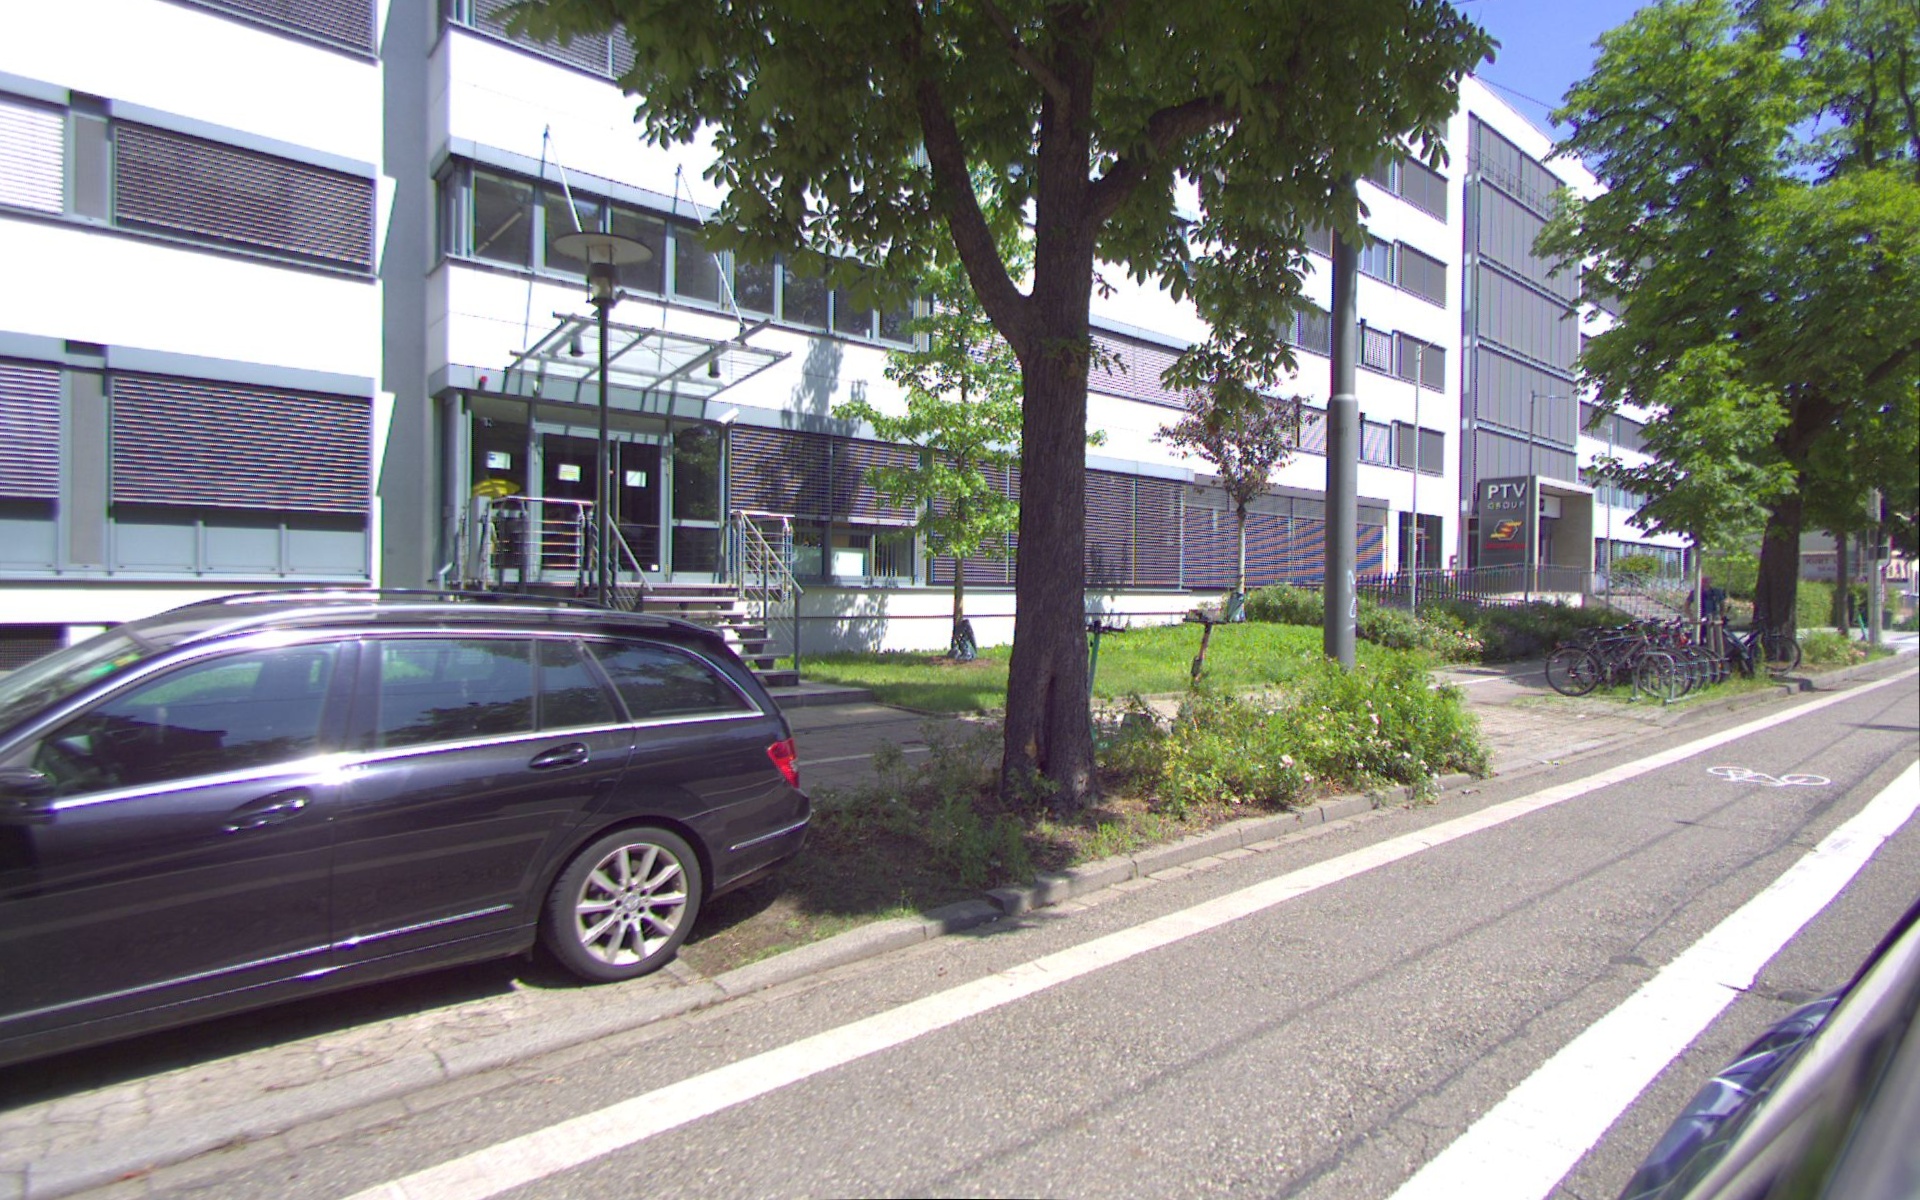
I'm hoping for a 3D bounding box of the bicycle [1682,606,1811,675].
[{"bbox_3d":[14.458,0.713,18.632,1.813,1.179,0.700,1,1,43],"label":"bicycle"}]

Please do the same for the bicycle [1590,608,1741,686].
[{"bbox_3d":[10.766,0.687,15.487,0.560,1.125,1.809,0,-1,-43],"label":"bicycle"}]

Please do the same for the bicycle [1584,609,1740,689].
[{"bbox_3d":[10.388,0.698,15.024,0.560,1.125,1.809,0,-1,-43],"label":"bicycle"}]

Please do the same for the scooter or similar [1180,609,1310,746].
[{"bbox_3d":[2.827,0.719,9.988,1.361,1.223,0.540,0,2,-41],"label":"scooter or similar"}]

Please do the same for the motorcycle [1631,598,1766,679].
[{"bbox_3d":[12.711,0.634,17.448,1.813,1.293,0.710,1,1,43],"label":"motorcycle"}]

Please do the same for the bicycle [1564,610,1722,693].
[{"bbox_3d":[9.858,0.710,14.661,0.560,1.125,1.809,0,-1,-43],"label":"bicycle"}]

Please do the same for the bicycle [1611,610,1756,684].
[{"bbox_3d":[11.625,0.728,16.305,0.560,1.125,1.809,0,-1,-43],"label":"bicycle"}]

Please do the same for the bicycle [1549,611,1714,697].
[{"bbox_3d":[9.385,0.719,14.214,0.560,1.125,1.842,0,-1,-43],"label":"bicycle"}]

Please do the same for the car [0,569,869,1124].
[{"bbox_3d":[-2.682,0.648,3.774,4.554,1.485,1.679,0,2,-41],"label":"car"}]

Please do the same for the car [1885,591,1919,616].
[{"bbox_3d":[69.365,0.212,71.957,1.967,1.764,5.204,0,0,-43],"label":"car"}]

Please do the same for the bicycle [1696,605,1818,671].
[{"bbox_3d":[15.368,0.707,19.544,1.813,1.179,0.700,1,1,43],"label":"bicycle"}]

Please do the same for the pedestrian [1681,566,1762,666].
[{"bbox_3d":[14.537,0.295,19.342,0.967,1.855,0.787,0,0,7],"label":"pedestrian"}]

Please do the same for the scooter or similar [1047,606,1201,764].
[{"bbox_3d":[1.441,0.687,8.772,1.361,1.223,0.540,0,2,-41],"label":"scooter or similar"}]
